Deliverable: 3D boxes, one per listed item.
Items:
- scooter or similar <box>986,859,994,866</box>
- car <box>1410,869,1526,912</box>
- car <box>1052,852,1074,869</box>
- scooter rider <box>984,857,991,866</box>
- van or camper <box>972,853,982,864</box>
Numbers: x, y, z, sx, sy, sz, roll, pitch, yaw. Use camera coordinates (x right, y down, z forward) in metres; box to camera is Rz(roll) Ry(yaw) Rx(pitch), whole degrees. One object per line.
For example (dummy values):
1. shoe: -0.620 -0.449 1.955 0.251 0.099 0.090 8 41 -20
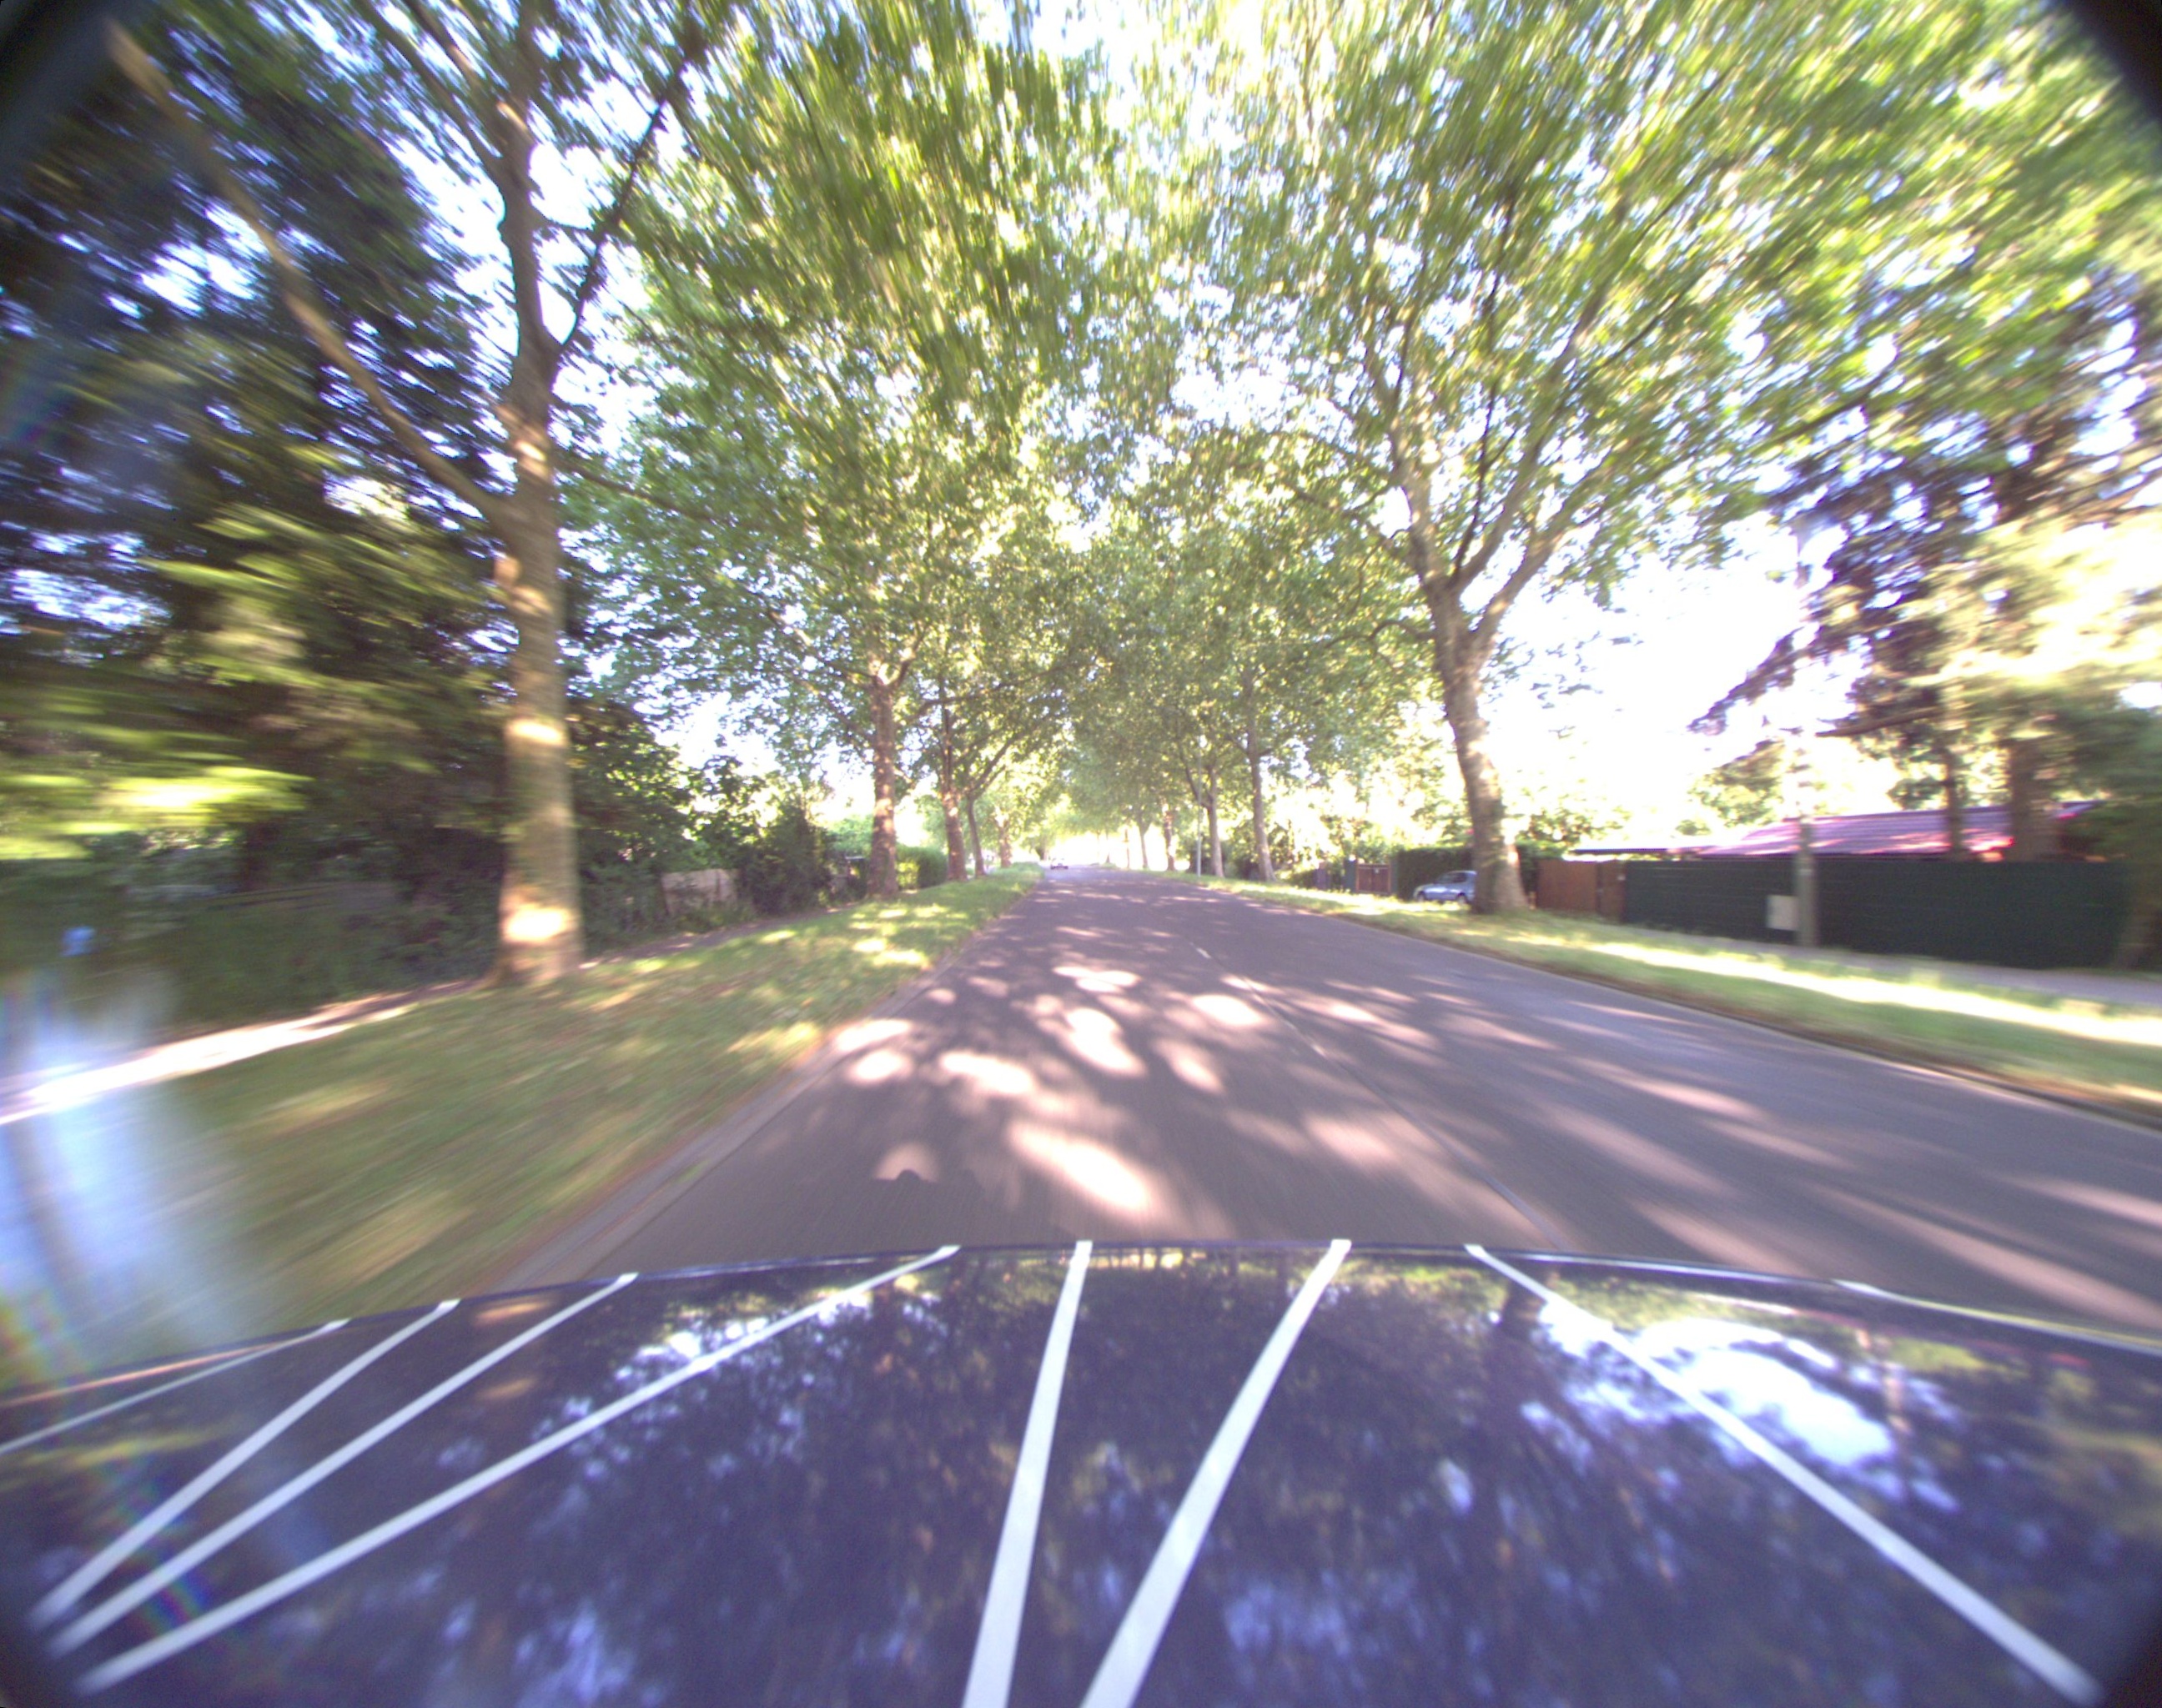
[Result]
1. scooter or similar: -15.135 1.407 125.966 0.340 1.128 1.602 0 1 32
2. car: 13.190 1.201 26.176 1.757 1.296 3.999 1 -1 -4
3. car: -1.993 0.689 83.102 1.999 1.655 3.997 -1 1 -5
4. scooter rider: -15.431 1.237 125.701 0.782 1.567 0.846 -2 0 31
5. van or camper: -26.925 1.139 196.252 2.388 2.784 5.680 -1 1 -9
